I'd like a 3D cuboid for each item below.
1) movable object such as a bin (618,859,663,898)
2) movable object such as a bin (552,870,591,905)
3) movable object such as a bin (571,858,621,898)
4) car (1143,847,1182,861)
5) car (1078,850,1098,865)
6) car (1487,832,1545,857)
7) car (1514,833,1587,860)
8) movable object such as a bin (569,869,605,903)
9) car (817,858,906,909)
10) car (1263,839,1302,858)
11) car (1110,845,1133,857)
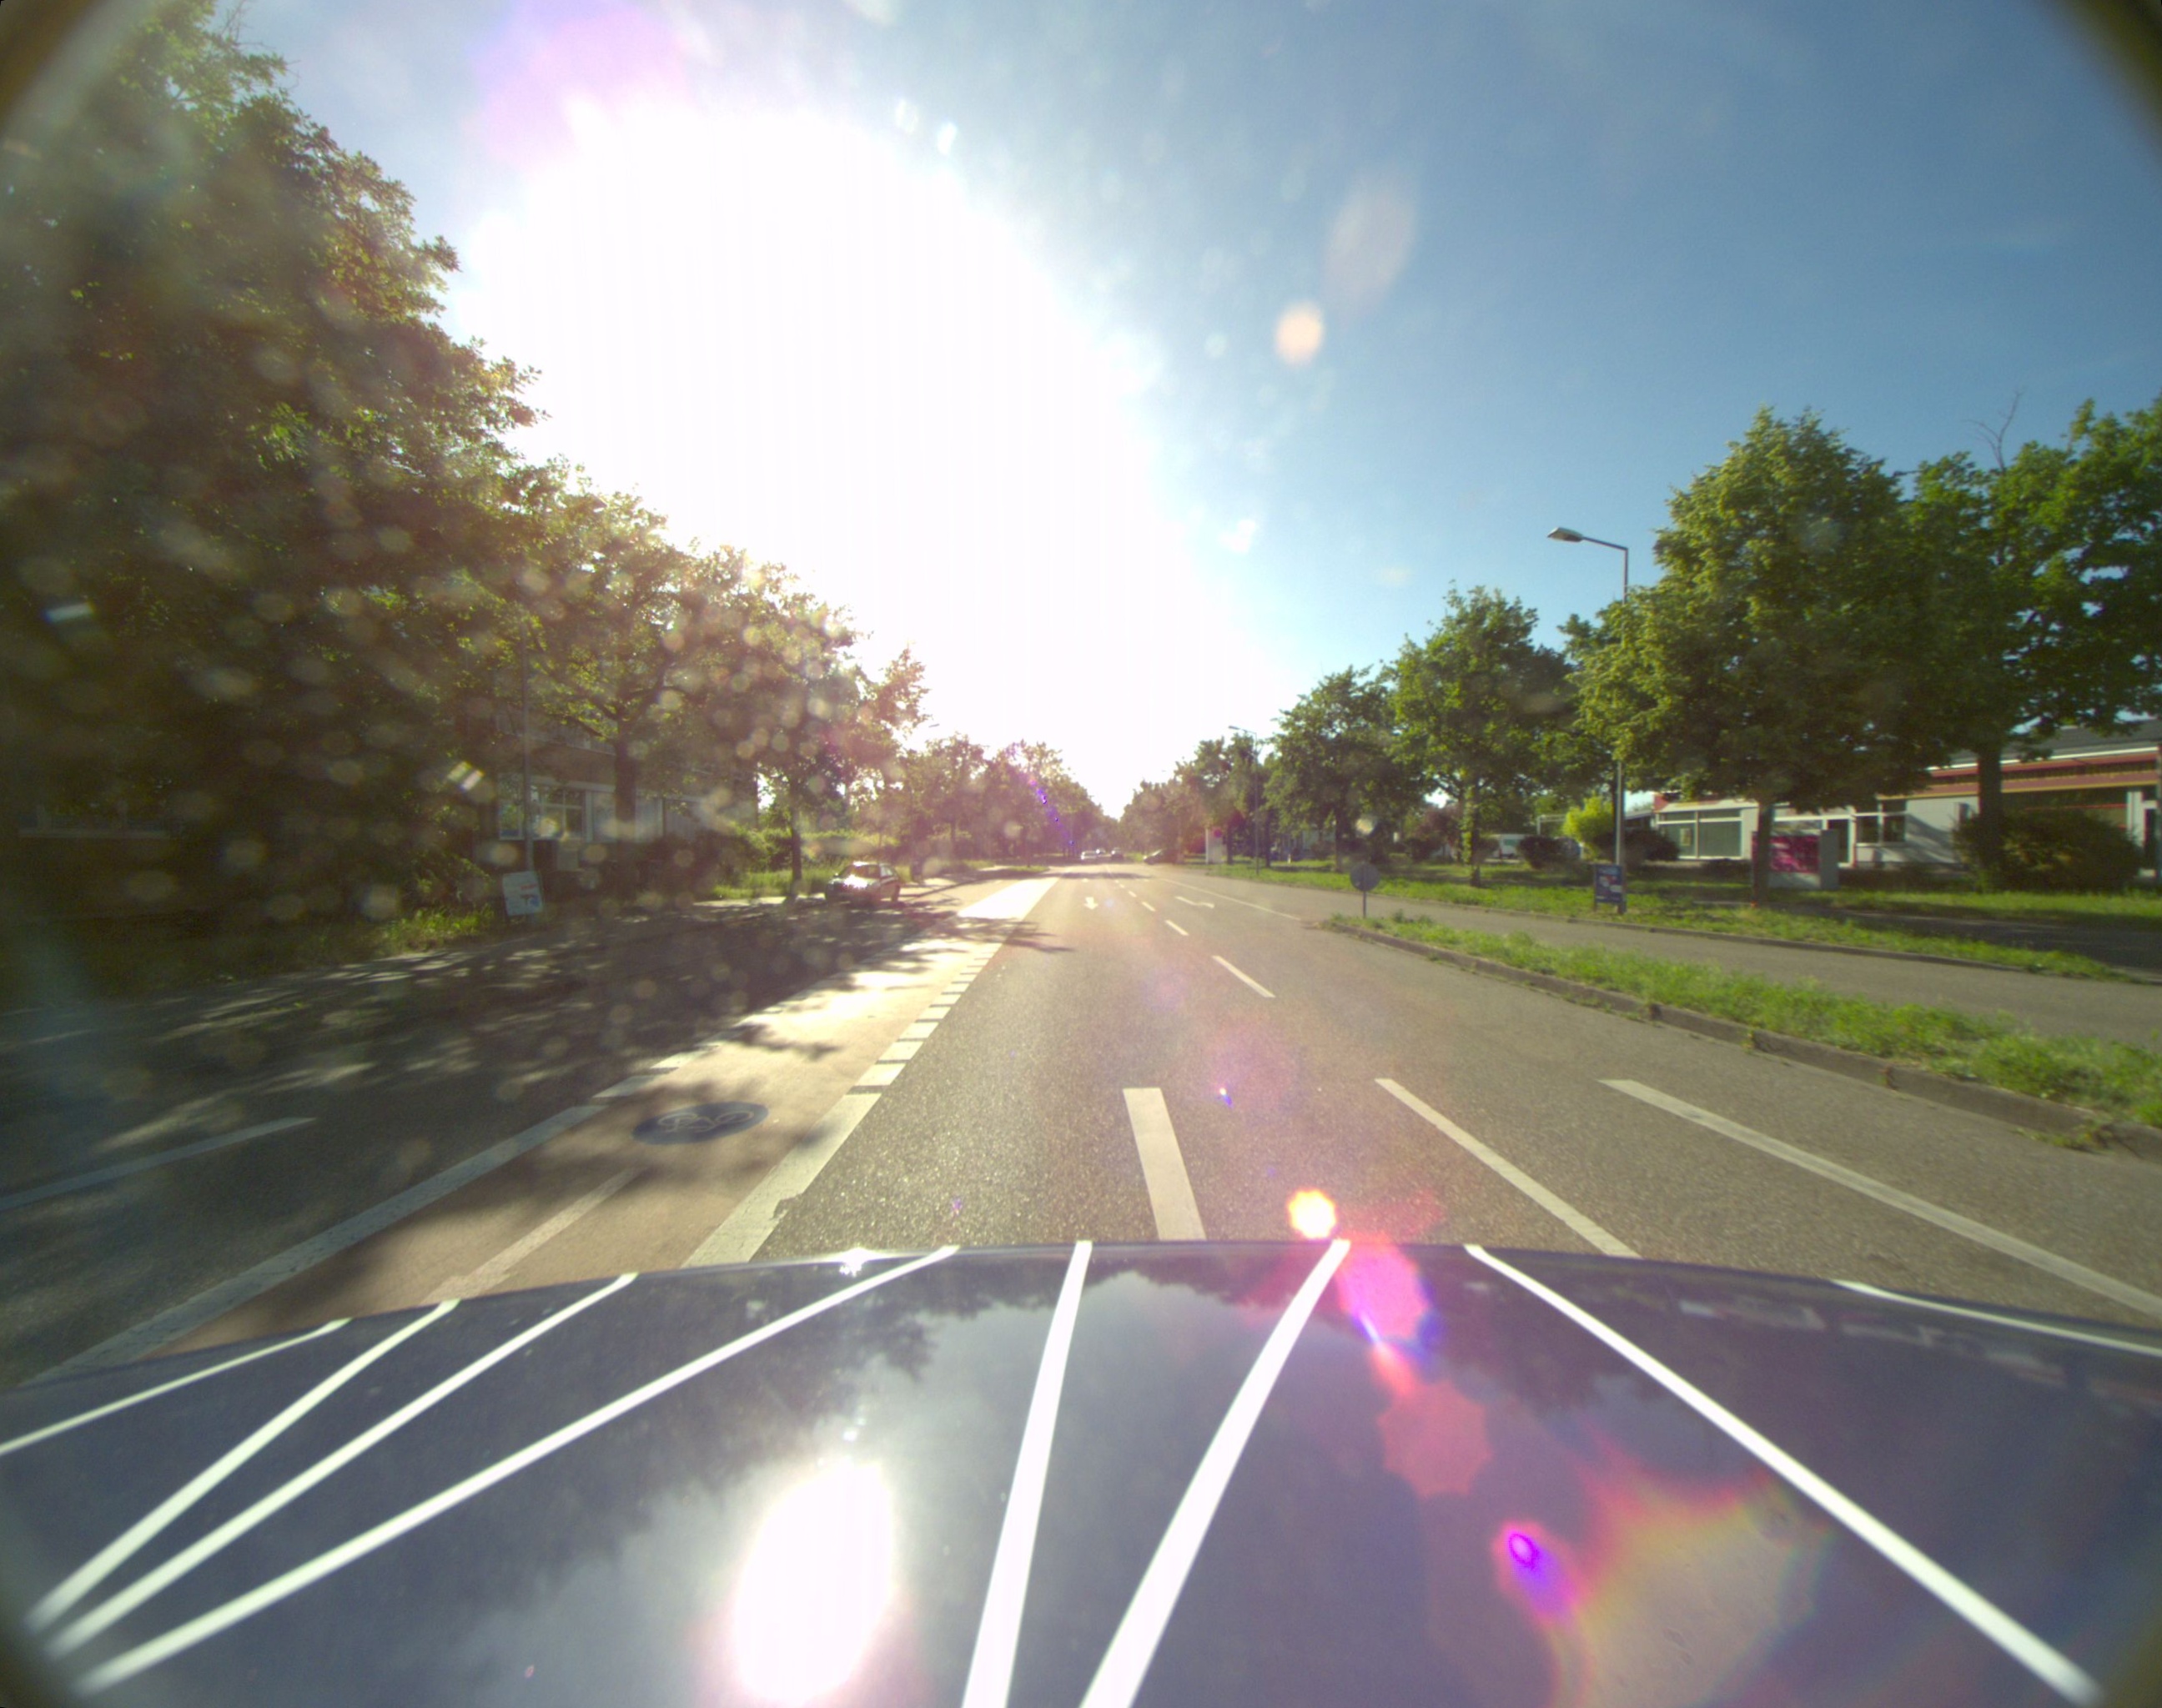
[{"bbox_3d":[-15.433,0.849,26.636,1.089,1.314,0.796,-1,1,0],"label":"movable object such as a bin"},{"bbox_3d":[-16.066,1.050,23.971,0.687,1.036,0.695,-2,1,0],"label":"movable object such as a bin"},{"bbox_3d":[-16.943,0.830,26.572,1.208,1.333,0.796,-1,1,0],"label":"movable object such as a bin"},{"bbox_3d":[9.004,-0.043,84.041,4.210,1.477,1.778,-1,1,5],"label":"car"},{"bbox_3d":[0.742,0.366,83.668,1.777,1.477,3.777,1,1,-6],"label":"car"},{"bbox_3d":[38.891,-0.826,67.946,4.212,2.204,1.777,-1,1,-2],"label":"car"},{"bbox_3d":[37.089,-0.597,60.085,4.489,1.934,1.998,-2,1,4],"label":"car"},{"bbox_3d":[-16.051,1.028,24.691,0.687,1.036,0.695,-1,1,0],"label":"movable object such as a bin"},{"bbox_3d":[-7.369,0.940,25.924,1.776,1.477,4.214,1,1,1],"label":"car"},{"bbox_3d":[23.107,-0.650,87.251,3.994,2.002,2.001,-2,1,8],"label":"car"},{"bbox_3d":[5.732,-0.396,107.341,1.995,1.674,4.006,0,1,23],"label":"car"}]
